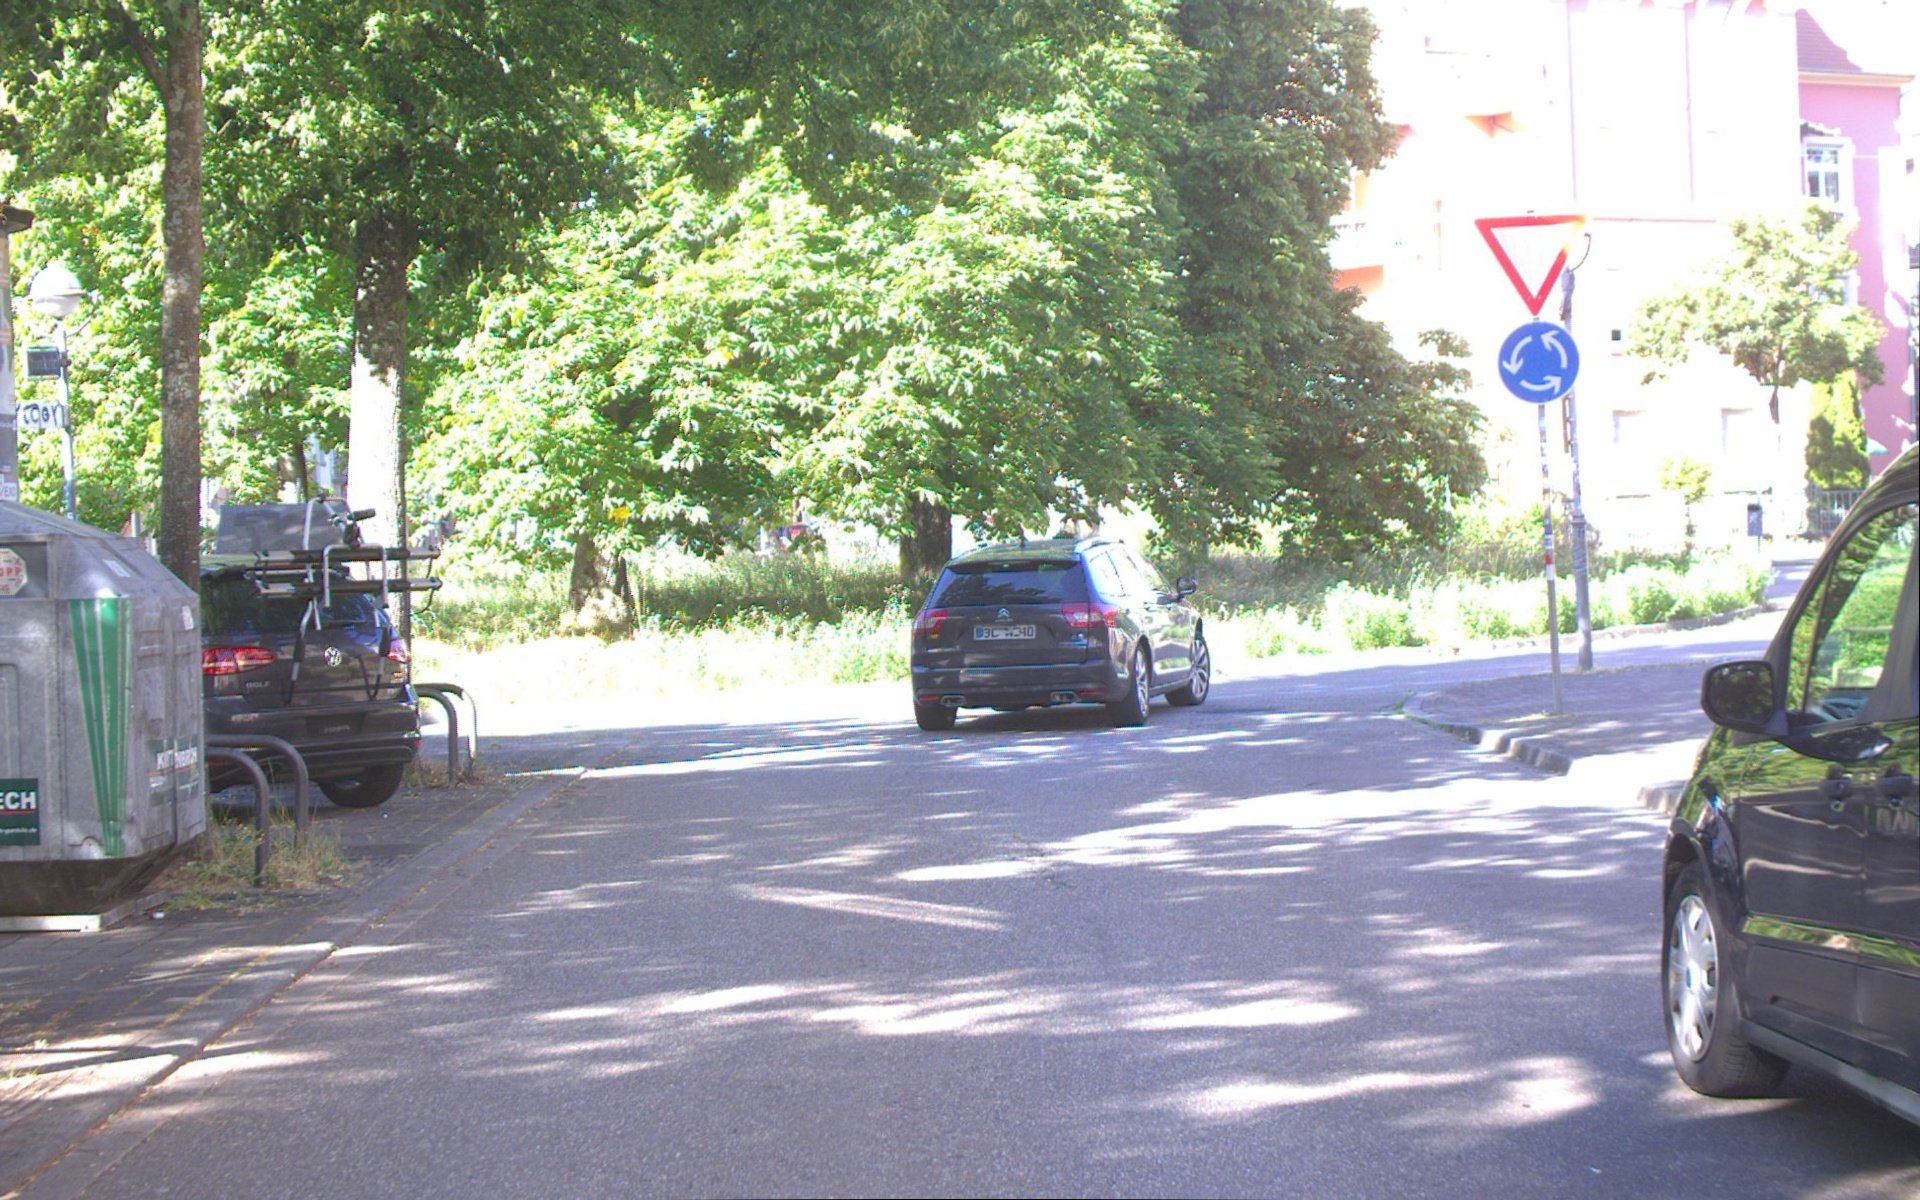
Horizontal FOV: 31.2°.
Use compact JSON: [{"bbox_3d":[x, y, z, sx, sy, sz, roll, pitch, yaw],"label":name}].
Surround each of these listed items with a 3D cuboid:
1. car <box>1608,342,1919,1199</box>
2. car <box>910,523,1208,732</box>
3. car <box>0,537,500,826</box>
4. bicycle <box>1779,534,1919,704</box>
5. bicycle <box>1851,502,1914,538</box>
[{"bbox_3d":[2.829,0.414,7.706,1.801,1.864,4.273,2,1,-1],"label":"car"},{"bbox_3d":[0.889,0.169,28.111,1.715,1.478,4.143,-2,1,11],"label":"car"},{"bbox_3d":[-4.708,0.425,19.597,4.138,1.476,1.772,-1,0,39],"label":"car"},{"bbox_3d":[6.854,0.118,23.829,2.225,1.155,0.387,-2,1,26],"label":"bicycle"},{"bbox_3d":[21.539,-1.868,80.299,0.477,0.797,2.029,-3,1,-14],"label":"bicycle"}]
